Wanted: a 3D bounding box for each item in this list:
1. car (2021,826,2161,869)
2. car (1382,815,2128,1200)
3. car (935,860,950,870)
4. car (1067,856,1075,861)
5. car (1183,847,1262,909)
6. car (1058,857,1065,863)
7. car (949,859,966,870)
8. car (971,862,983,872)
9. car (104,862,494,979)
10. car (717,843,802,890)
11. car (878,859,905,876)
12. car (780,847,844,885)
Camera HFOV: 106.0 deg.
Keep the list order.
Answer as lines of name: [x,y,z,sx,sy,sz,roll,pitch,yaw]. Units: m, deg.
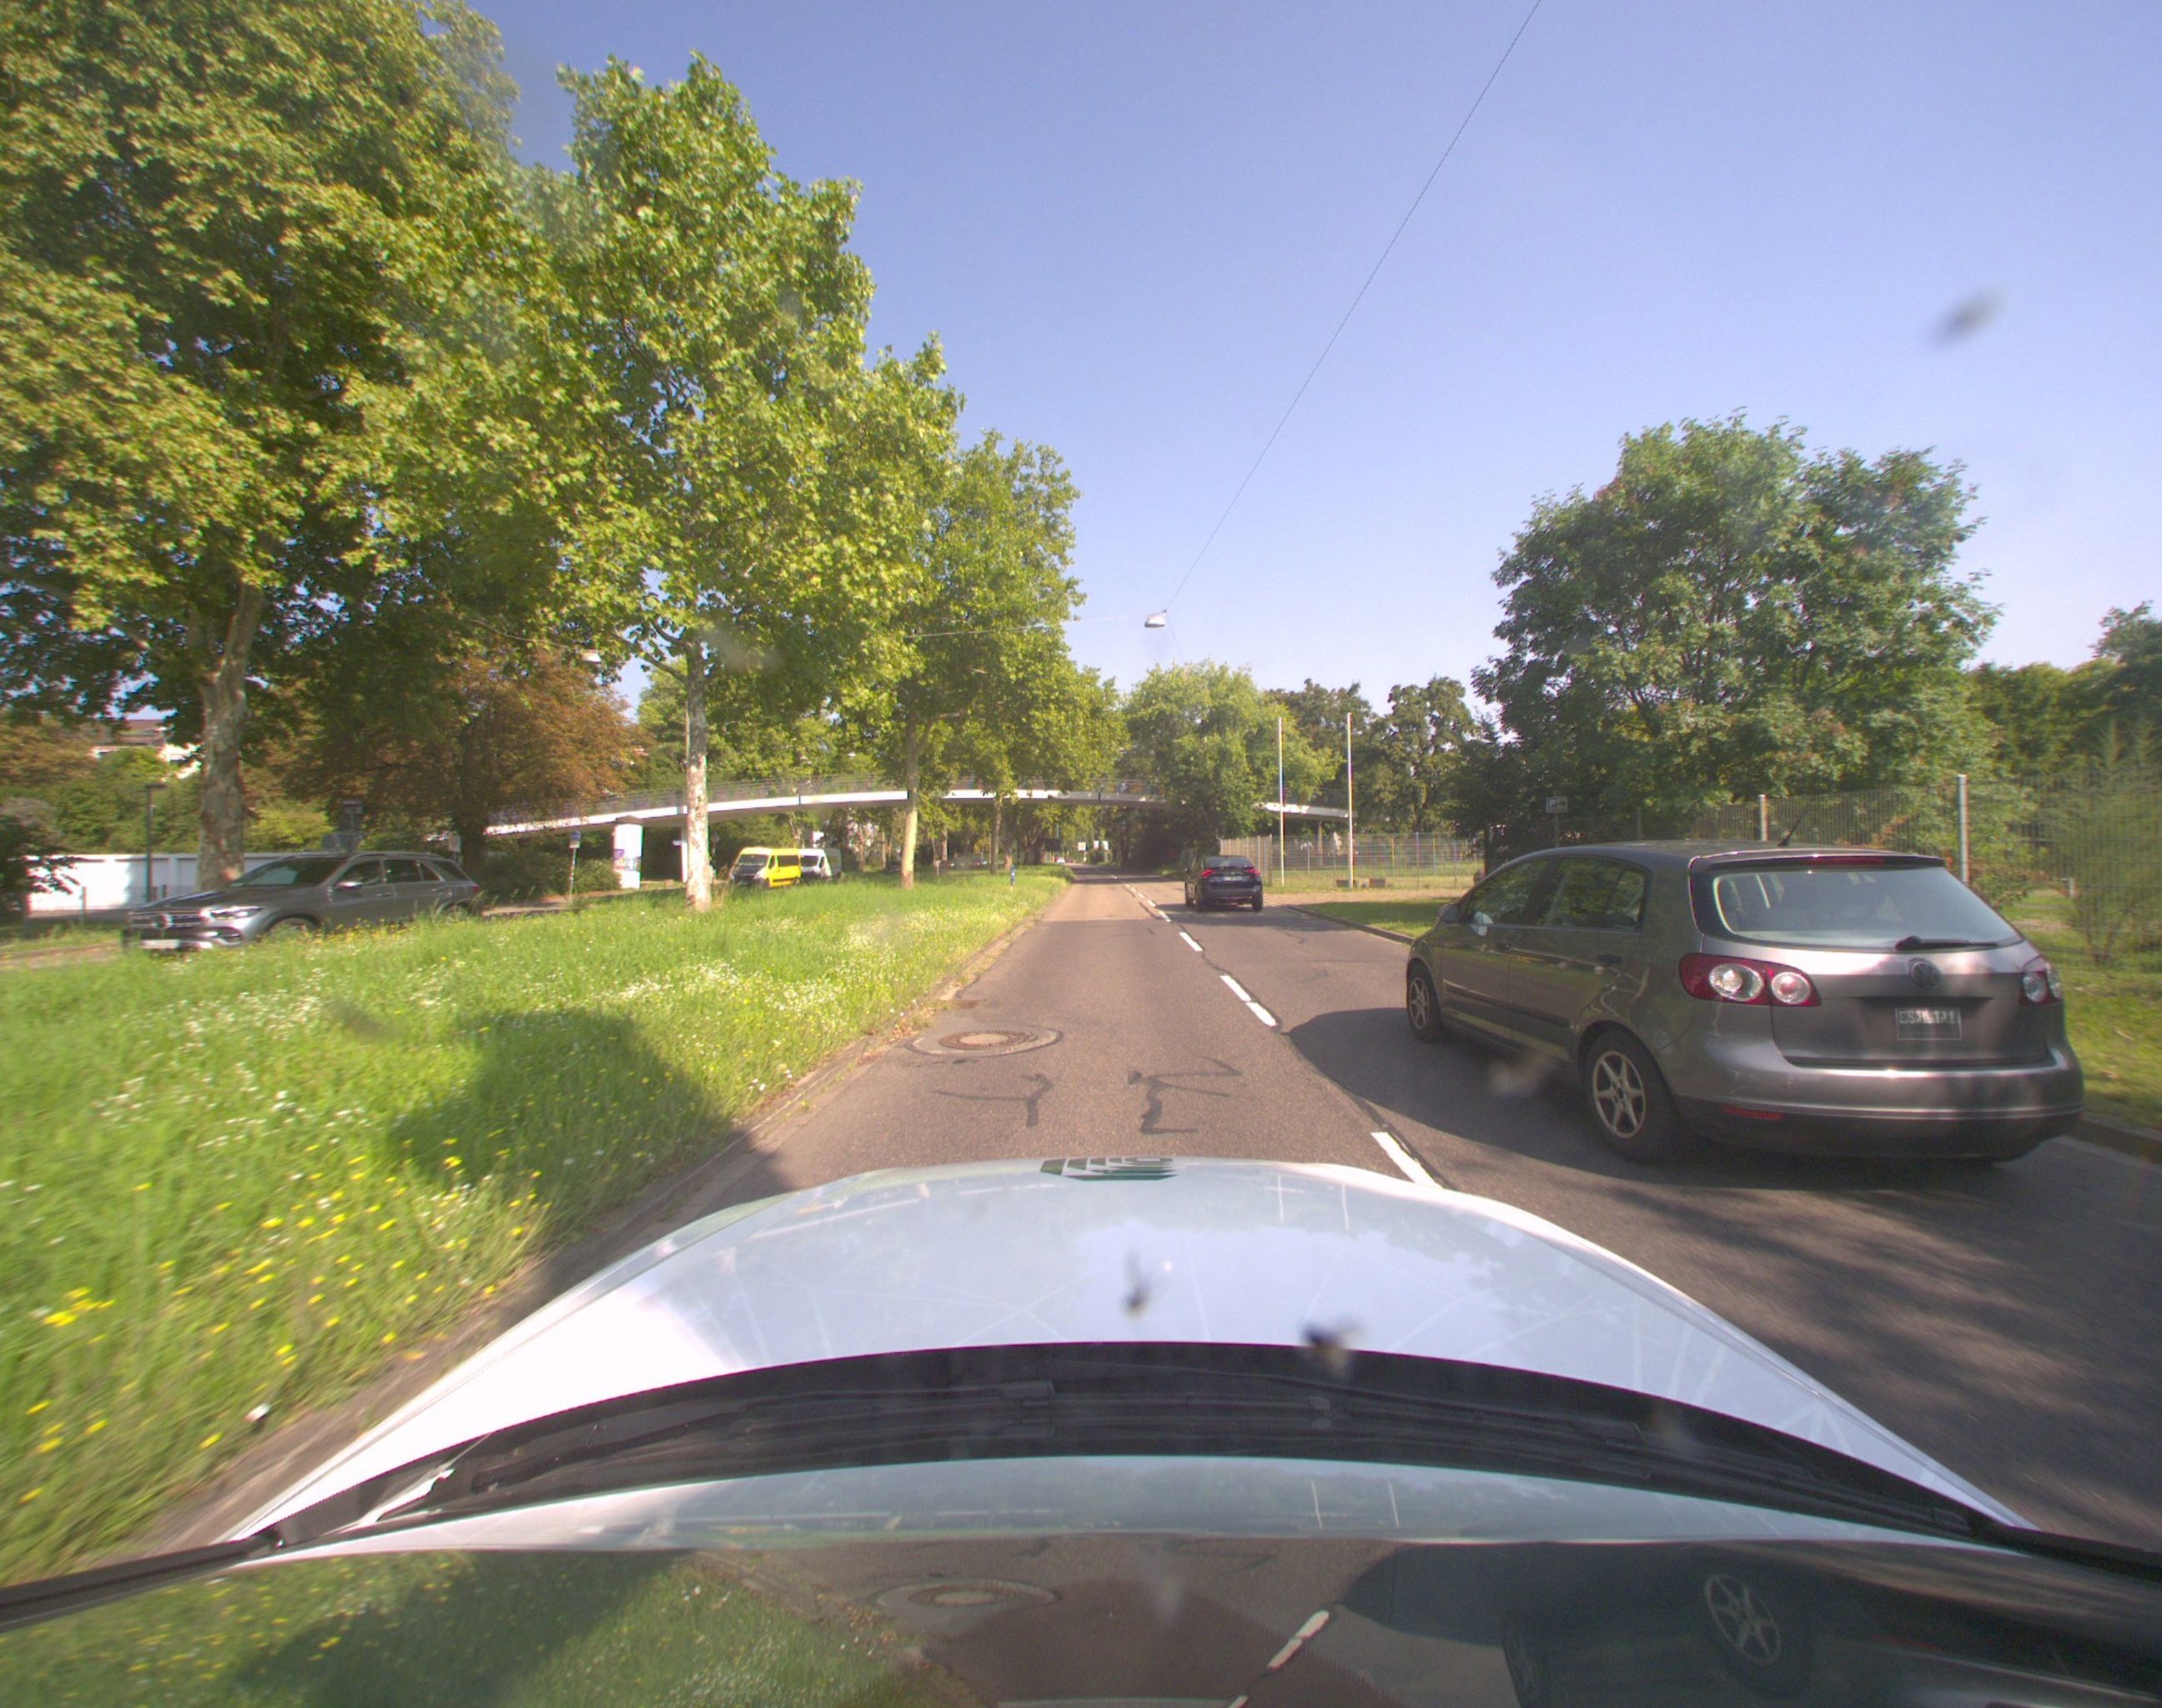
car: [43.822,-0.254,35.205,1.734,1.717,4.000,-1,0,1]
car: [3.469,0.644,5.275,1.639,1.556,3.899,0,-1,1]
car: [-19.905,1.571,117.437,1.534,1.451,4.062,0,-1,-1]
car: [-2.722,1.335,222.813,1.794,1.401,3.994,0,-1,-4]
car: [3.933,0.640,23.217,1.639,1.588,4.257,0,-1,2]
car: [-4.996,1.555,210.108,1.683,1.462,3.996,0,-1,-2]
car: [-16.820,1.439,110.731,1.783,1.533,4.451,0,-1,-2]
car: [-17.157,2.124,134.393,1.687,1.533,4.065,-1,0,-3]
car: [-12.652,0.947,13.778,1.768,1.616,4.859,0,-1,2]
car: [-18.233,0.713,46.576,2.199,2.479,6.064,0,-1,2]
car: [-18.850,1.326,80.996,1.516,1.533,3.867,-1,0,4]
car: [-18.146,0.782,55.242,2.200,2.430,6.264,0,-1,0]
